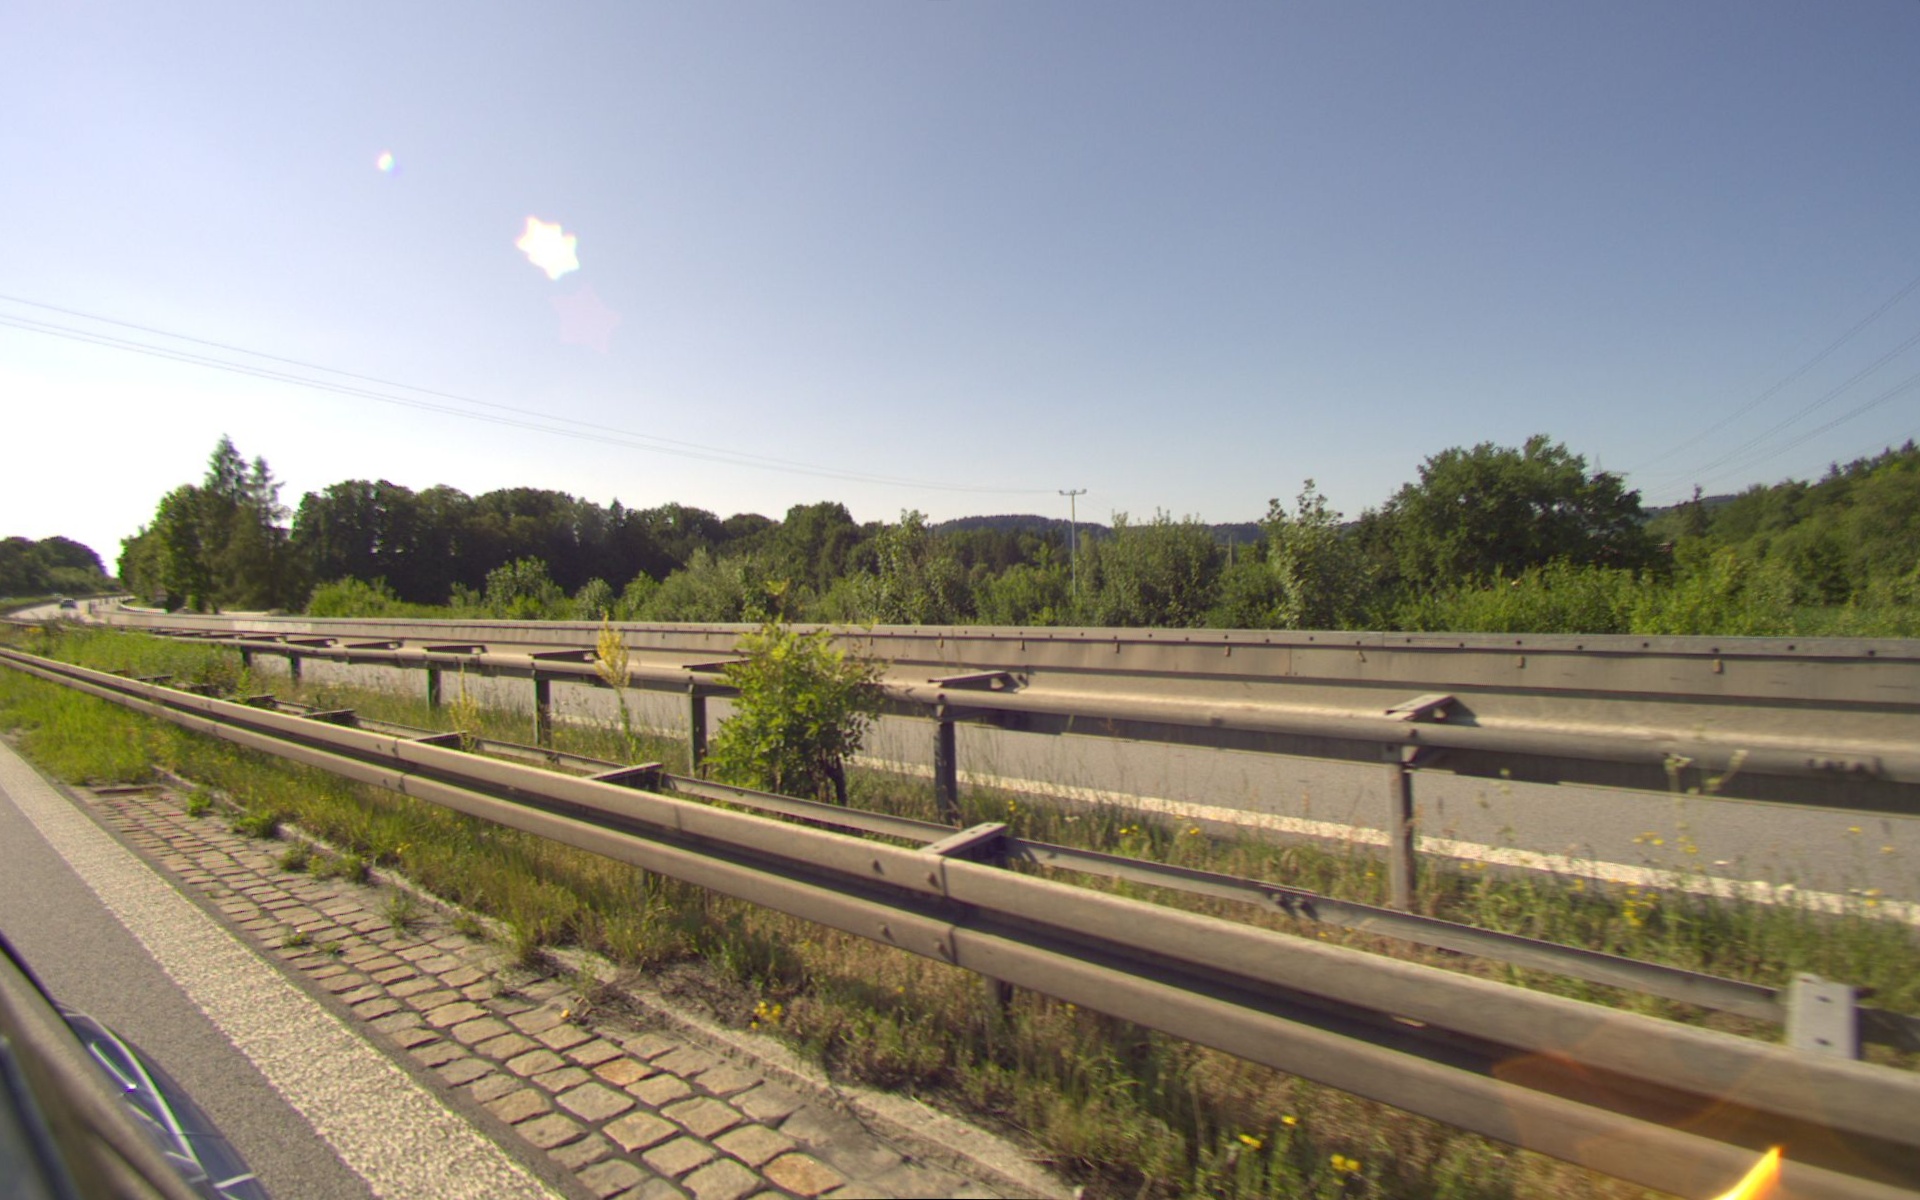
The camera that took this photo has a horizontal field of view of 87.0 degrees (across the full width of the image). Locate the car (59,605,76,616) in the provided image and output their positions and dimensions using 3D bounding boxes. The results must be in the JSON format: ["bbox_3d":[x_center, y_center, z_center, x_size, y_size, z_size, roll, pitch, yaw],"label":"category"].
[{"bbox_3d":[-127.942,1.519,145.077,1.738,1.523,4.541,0,0,-41],"label":"car"}]
